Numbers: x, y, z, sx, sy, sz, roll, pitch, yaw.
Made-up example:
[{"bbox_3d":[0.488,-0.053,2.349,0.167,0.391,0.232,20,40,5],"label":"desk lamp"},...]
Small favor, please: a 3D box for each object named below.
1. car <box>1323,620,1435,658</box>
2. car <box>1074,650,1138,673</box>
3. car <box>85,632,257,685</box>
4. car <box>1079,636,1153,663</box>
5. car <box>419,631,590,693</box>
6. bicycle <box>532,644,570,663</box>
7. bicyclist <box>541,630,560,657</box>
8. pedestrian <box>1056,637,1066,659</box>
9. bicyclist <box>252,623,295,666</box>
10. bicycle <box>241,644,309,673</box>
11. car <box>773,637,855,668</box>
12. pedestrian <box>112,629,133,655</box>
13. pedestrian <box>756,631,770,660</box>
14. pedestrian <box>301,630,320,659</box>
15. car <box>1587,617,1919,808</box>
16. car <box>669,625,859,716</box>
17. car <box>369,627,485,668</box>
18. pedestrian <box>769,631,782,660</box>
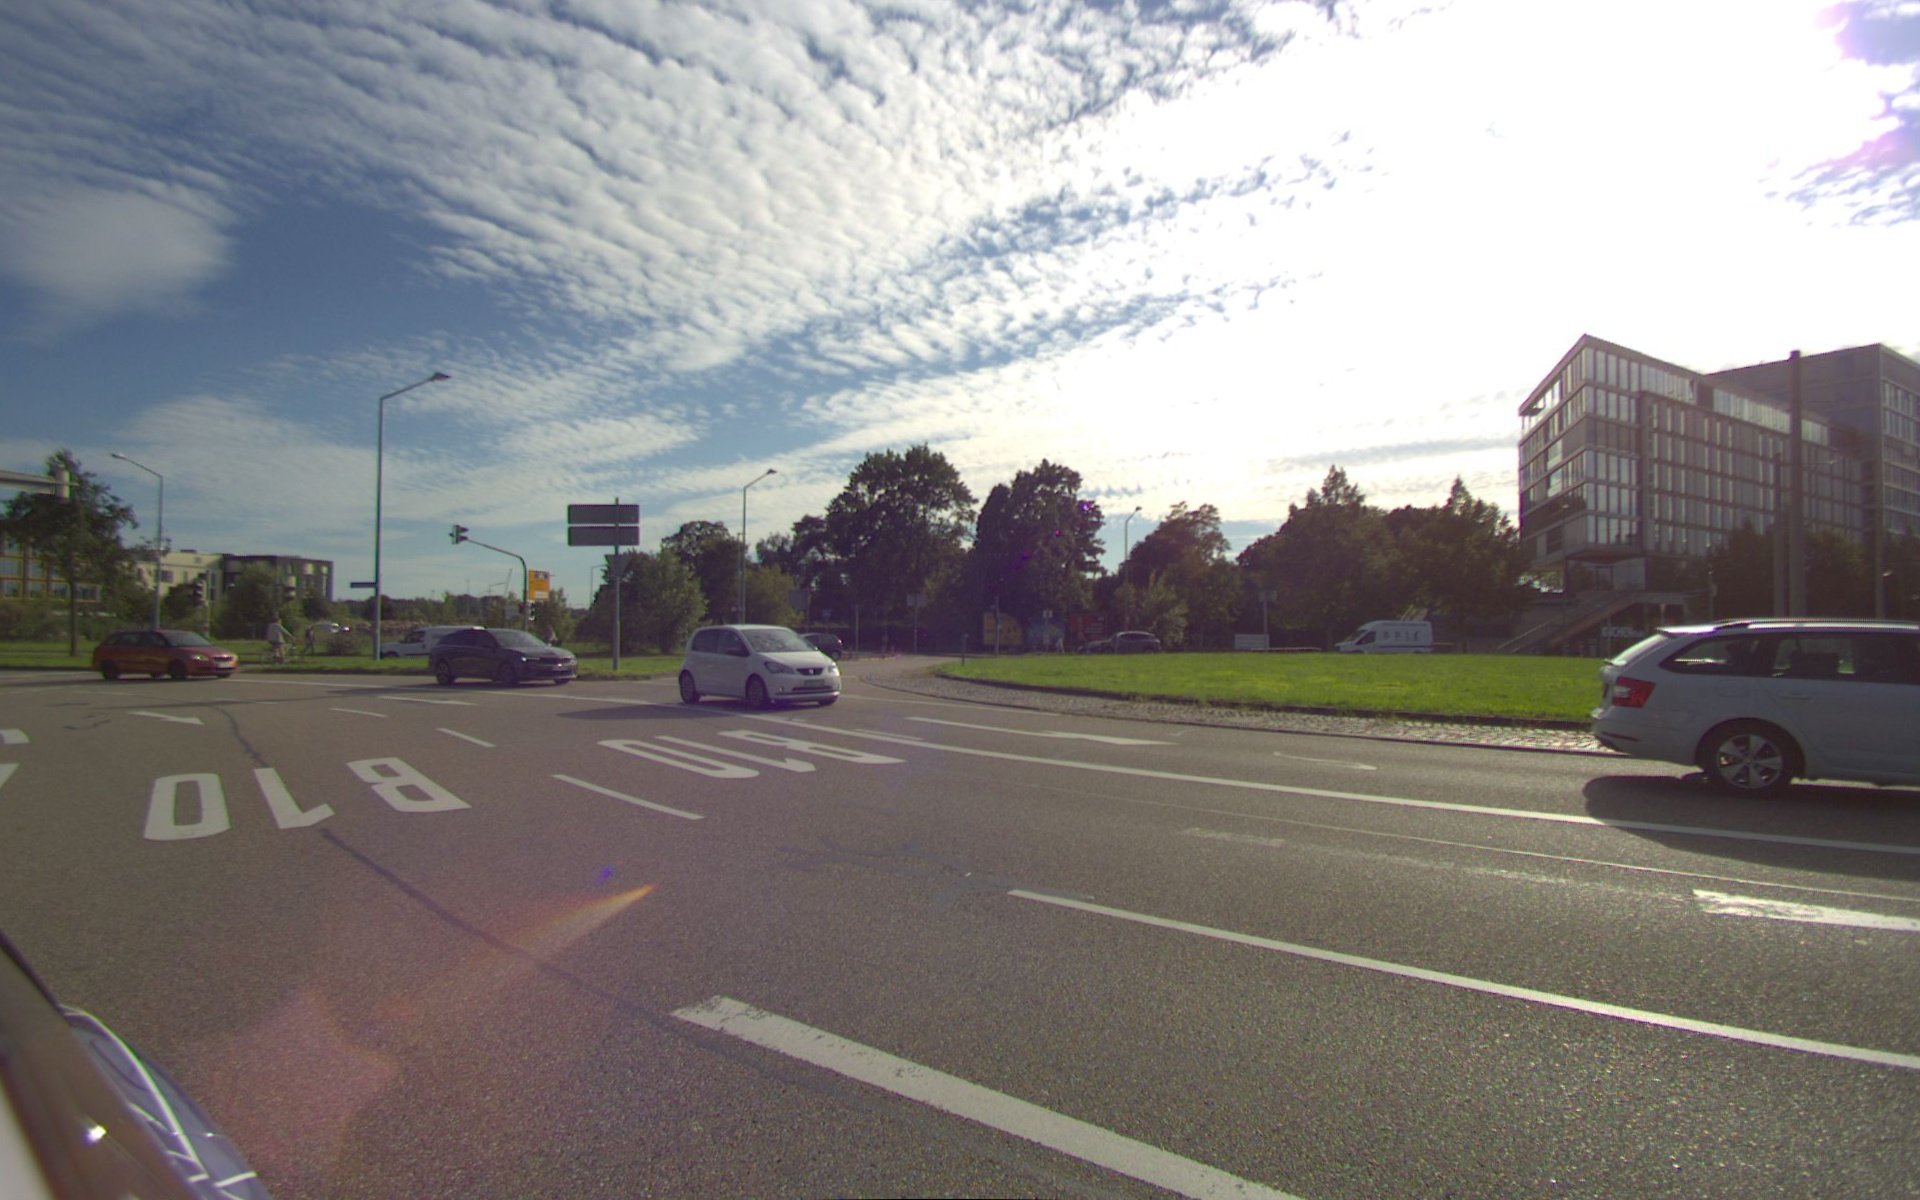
[{"bbox_3d":[25.711,2.414,62.237,5.939,2.281,2.065,0,-4,0],"label":"car"},{"bbox_3d":[9.845,4.139,68.170,3.968,1.513,1.672,-2,-5,23],"label":"car"},{"bbox_3d":[-23.589,1.721,30.299,4.180,1.486,1.690,0,-1,10],"label":"car"},{"bbox_3d":[9.169,2.920,59.596,3.928,1.513,1.689,1,-4,-12],"label":"car"},{"bbox_3d":[-11.959,1.574,26.527,4.427,1.431,1.807,0,-1,29],"label":"car"},{"bbox_3d":[-21.736,2.816,53.771,0.610,0.996,1.815,-2,-3,36],"label":"bicycle"},{"bbox_3d":[-21.752,2.309,53.753,0.610,1.457,0.689,-1,-4,37],"label":"bicyclist"},{"bbox_3d":[7.414,3.495,74.026,0.540,1.637,0.506,2,-3,-42],"label":"pedestrian"},{"bbox_3d":[-25.469,1.633,37.564,0.987,1.568,0.862,0,-2,13],"label":"bicyclist"},{"bbox_3d":[-25.445,2.155,37.636,0.992,1.015,1.953,0,-2,13],"label":"bicycle"},{"bbox_3d":[-7.494,2.751,52.156,3.931,1.513,1.688,4,-6,-41],"label":"car"},{"bbox_3d":[-49.666,2.491,59.994,0.748,1.519,0.627,0,1,10],"label":"pedestrian"},{"bbox_3d":[-13.155,3.040,67.722,0.853,1.930,0.898,0,0,-7],"label":"pedestrian"},{"bbox_3d":[-36.786,2.522,57.347,0.651,1.642,0.626,0,-1,11],"label":"pedestrian"},{"bbox_3d":[7.965,0.868,8.395,4.626,1.456,1.835,-2,-2,34],"label":"car"},{"bbox_3d":[-3.667,1.224,18.556,1.740,1.475,3.663,1,-2,-43],"label":"car"},{"bbox_3d":[-24.946,2.245,47.514,4.489,1.839,1.688,1,-4,-8],"label":"car"},{"bbox_3d":[-12.417,3.040,68.113,0.853,1.930,0.898,0,0,-7],"label":"pedestrian"}]
